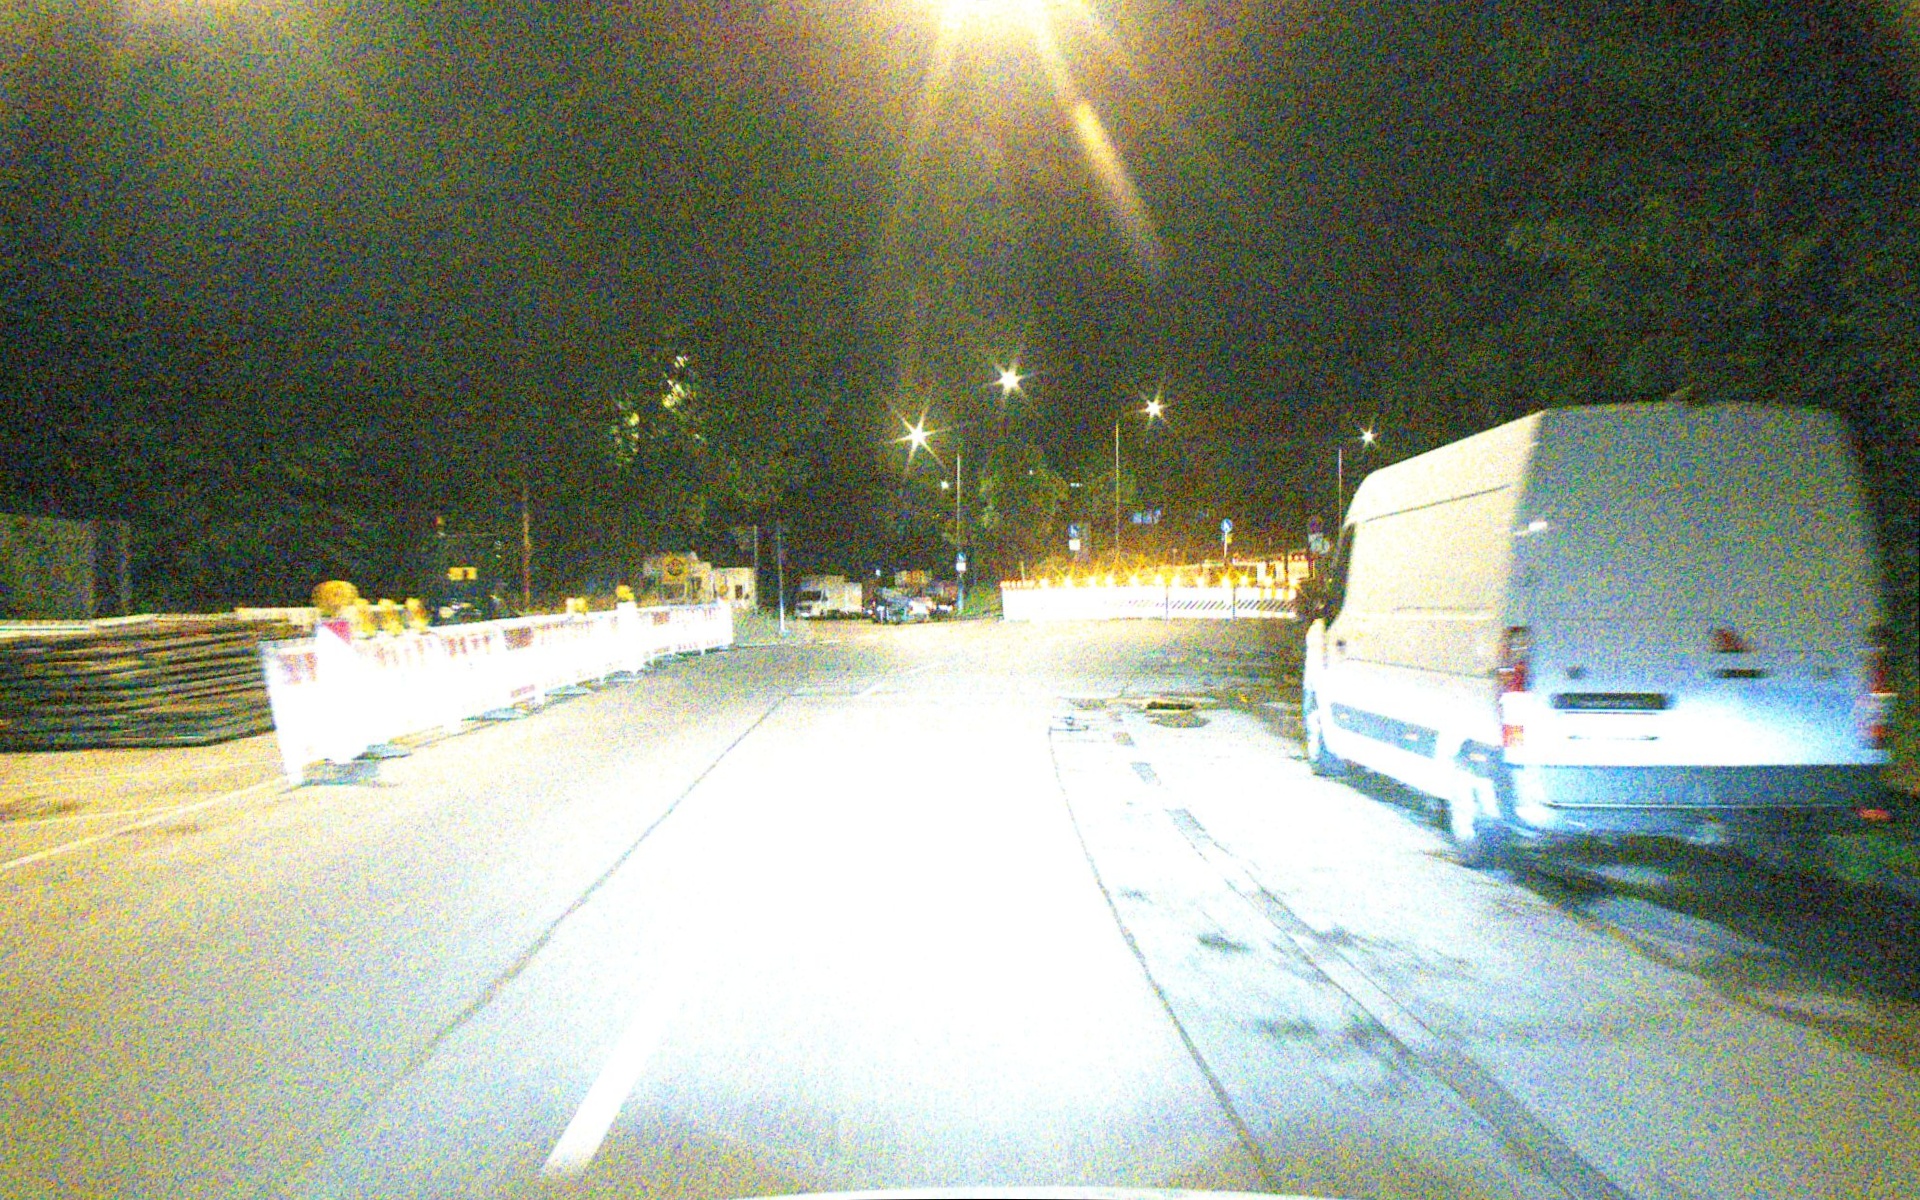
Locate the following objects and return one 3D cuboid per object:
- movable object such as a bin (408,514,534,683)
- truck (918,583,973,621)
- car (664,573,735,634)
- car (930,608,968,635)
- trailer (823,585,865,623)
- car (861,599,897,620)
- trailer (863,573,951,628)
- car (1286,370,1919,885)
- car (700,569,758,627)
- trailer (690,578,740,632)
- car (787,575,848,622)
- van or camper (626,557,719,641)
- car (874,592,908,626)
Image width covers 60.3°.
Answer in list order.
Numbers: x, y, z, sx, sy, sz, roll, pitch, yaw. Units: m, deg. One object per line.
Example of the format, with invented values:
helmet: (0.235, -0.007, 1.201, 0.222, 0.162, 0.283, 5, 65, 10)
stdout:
movable object such as a bin: (-8.734, -0.055, 29.805, 1.541, 2.781, 3.694, -3, 1, -9)
truck: (-1.324, 0.131, 156.281, 1.953, 3.463, 8.979, 1, 1, 21)
car: (-12.125, 0.175, 77.444, 2.469, 2.651, 7.086, -2, 0, -3)
car: (-0.744, 1.485, 114.302, 1.684, 1.853, 4.003, 0, -1, 13)
trailer: (-8.873, 0.296, 127.228, 1.951, 2.862, 4.707, -1, 0, 13)
car: (-6.771, 0.832, 138.344, 1.951, 1.729, 4.209, 0, -1, 13)
trailer: (-2.340, 0.042, 70.899, 1.542, 2.198, 5.170, -2, -1, -29)
car: (3.895, 0.097, 11.467, 2.065, 2.560, 6.372, 0, 1, 1)
car: (-12.587, -0.092, 90.541, 2.469, 2.978, 7.196, -2, 0, -3)
trailer: (-12.304, 0.239, 83.236, 1.953, 2.571, 3.566, -2, 0, -2)
car: (-10.332, -0.109, 120.634, 2.465, 3.226, 7.144, -2, 0, 11)
van or camper: (-11.620, -0.045, 67.365, 2.468, 3.148, 7.444, -2, 0, -1)
car: (-3.545, 0.500, 85.416, 1.686, 1.690, 3.998, 0, -1, -1)
